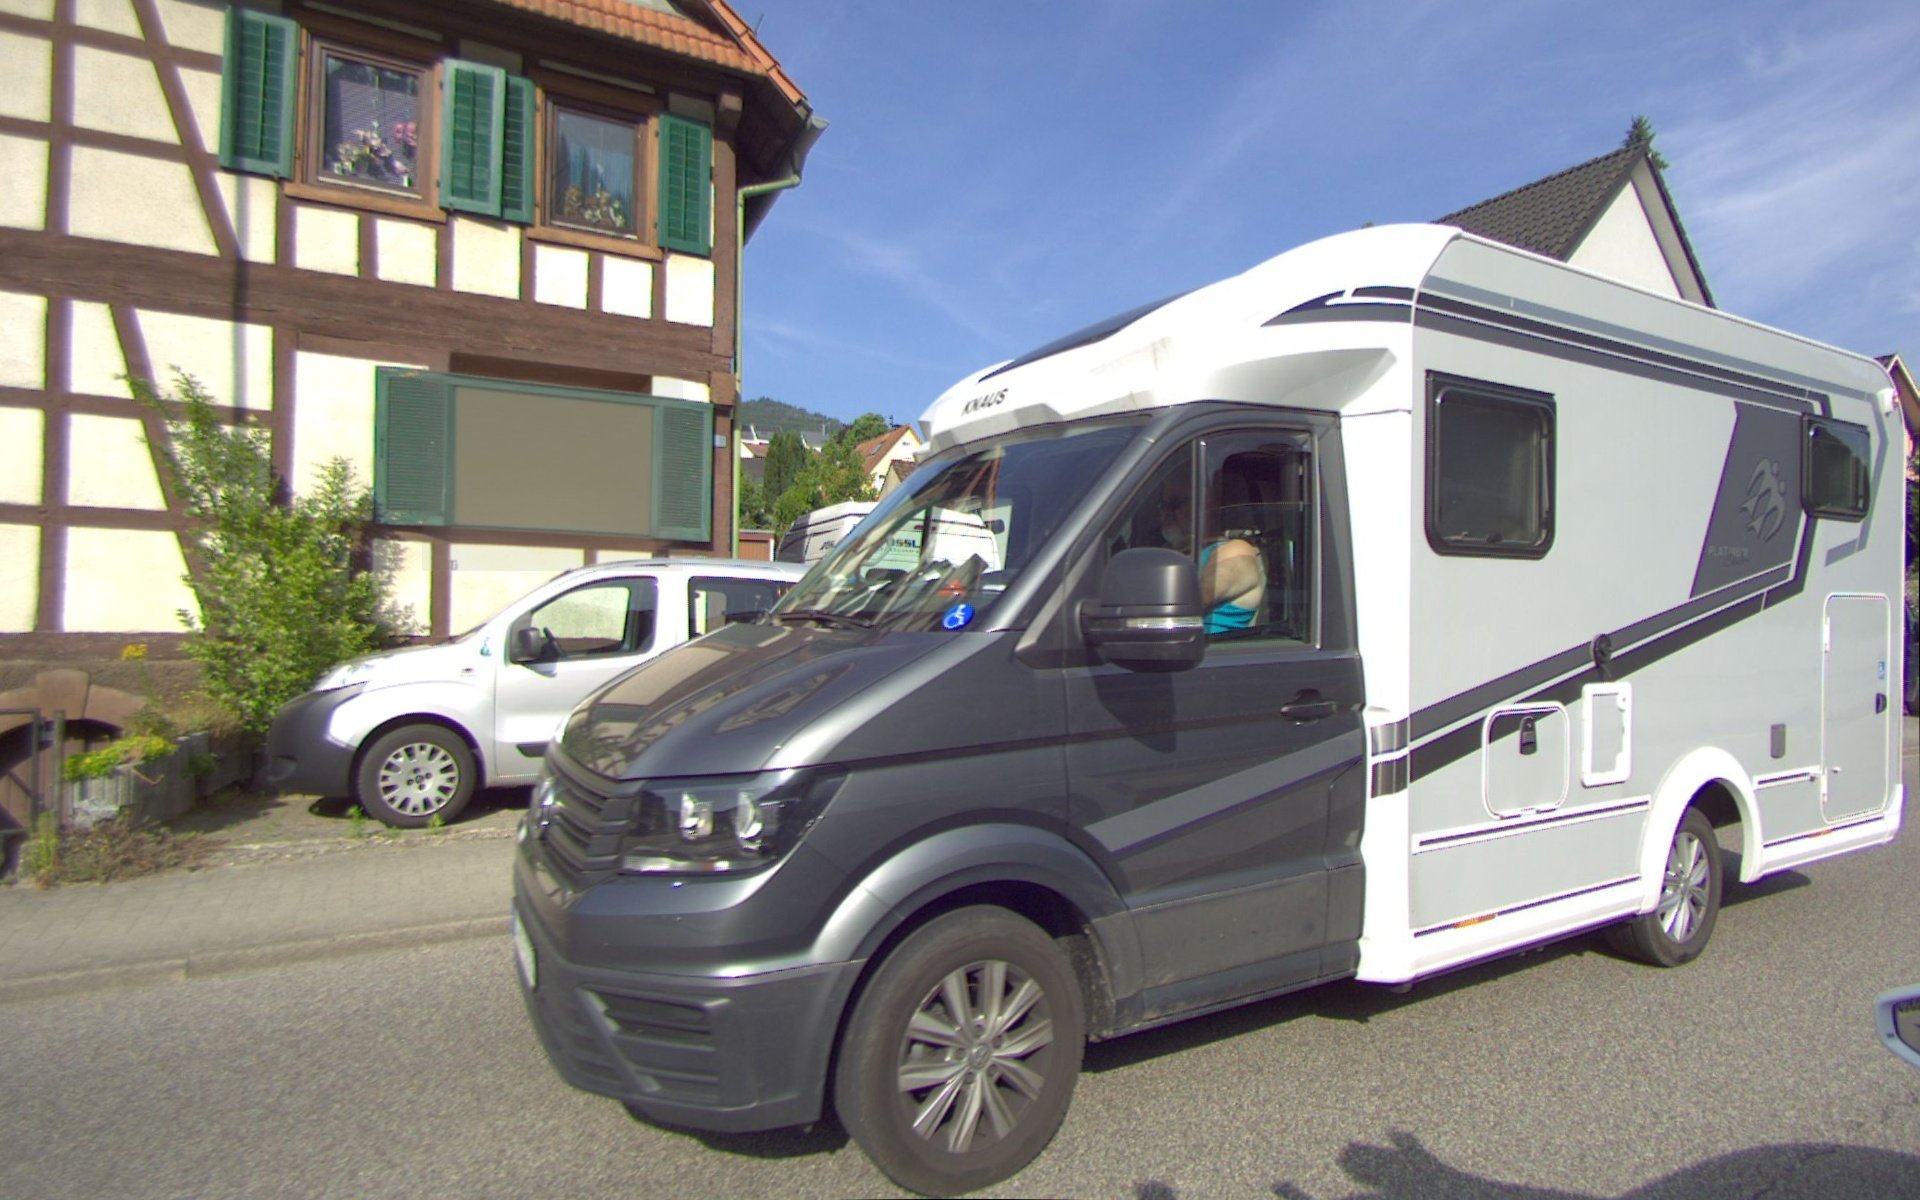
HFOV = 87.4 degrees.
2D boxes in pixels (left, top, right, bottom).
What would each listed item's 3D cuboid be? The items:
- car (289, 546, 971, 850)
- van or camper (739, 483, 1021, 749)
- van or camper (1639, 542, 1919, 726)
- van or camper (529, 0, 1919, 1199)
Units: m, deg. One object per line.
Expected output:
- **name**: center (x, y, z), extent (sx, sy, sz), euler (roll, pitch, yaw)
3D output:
- **car**: center (-2.224, 0.602, 7.367), extent (4.211, 1.686, 1.894), euler (2, -1, -26)
- **van or camper**: center (-1.306, 0.187, 12.992), extent (2.160, 2.699, 5.165), euler (1, 0, -22)
- **van or camper**: center (13.866, 0.563, 16.461), extent (5.829, 2.589, 2.139), euler (1, -2, -29)
- **van or camper**: center (1.923, 0.045, 4.678), extent (7.040, 2.977, 2.186), euler (1, -1, -29)
